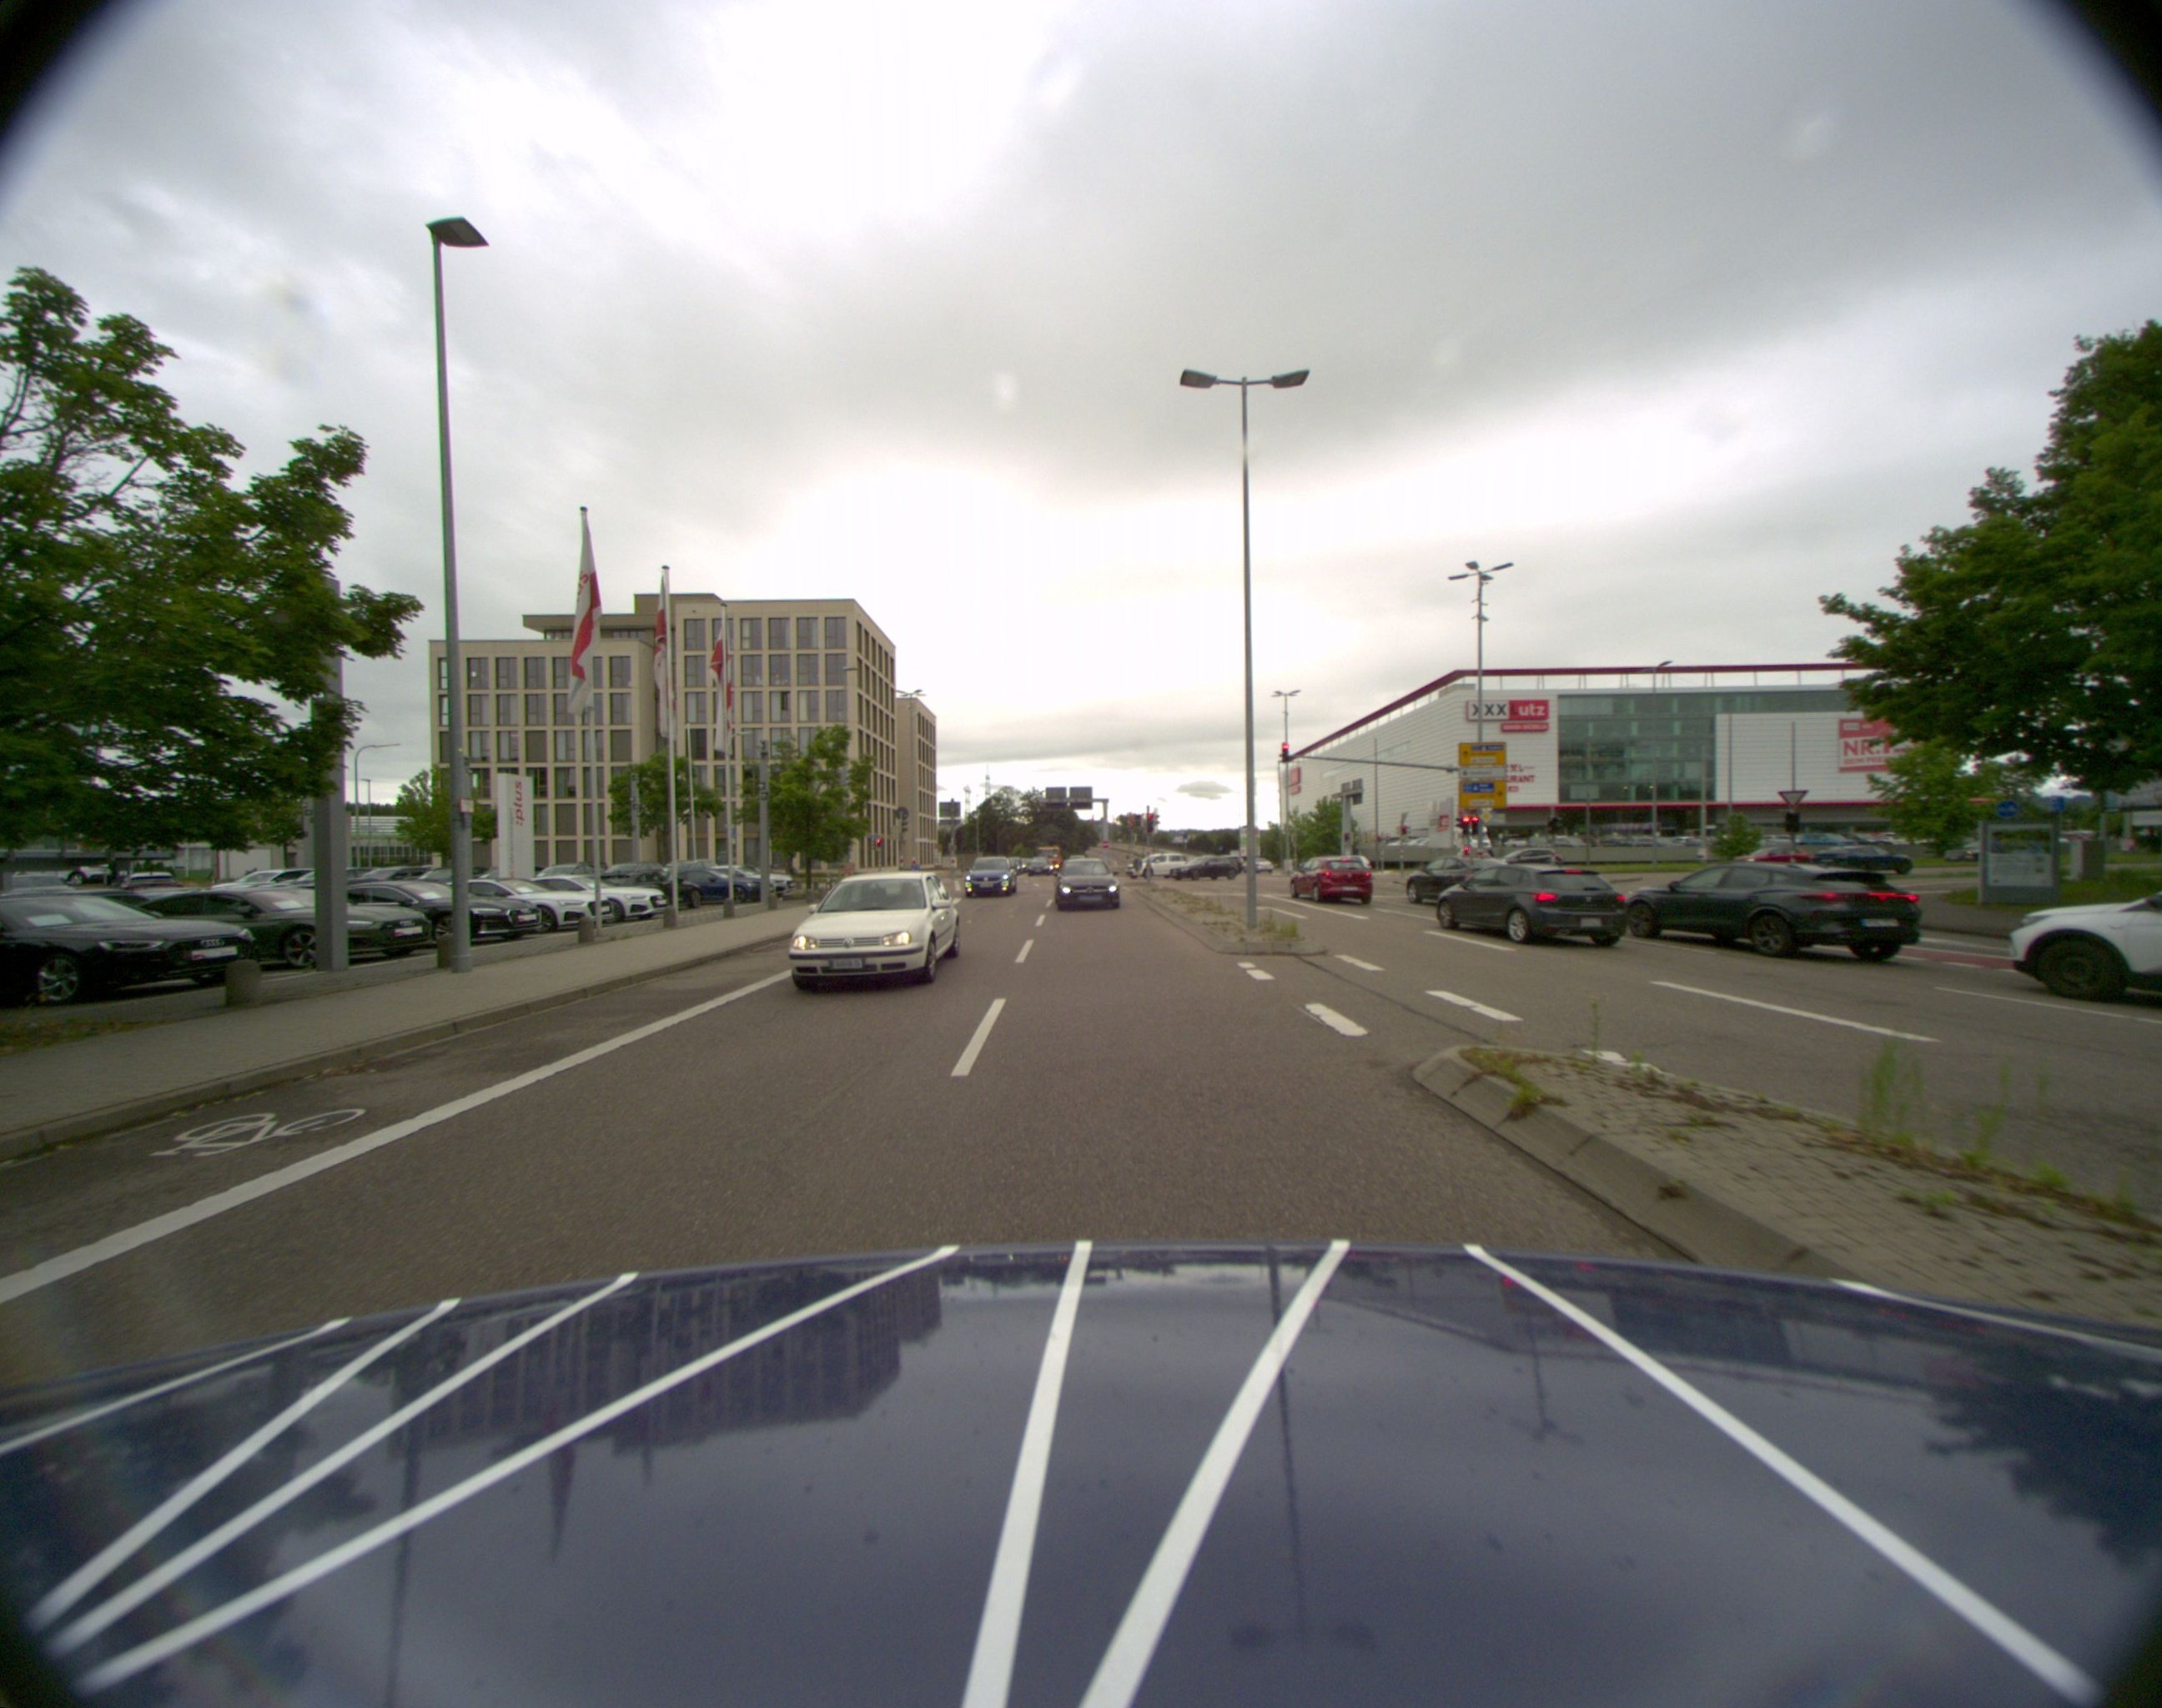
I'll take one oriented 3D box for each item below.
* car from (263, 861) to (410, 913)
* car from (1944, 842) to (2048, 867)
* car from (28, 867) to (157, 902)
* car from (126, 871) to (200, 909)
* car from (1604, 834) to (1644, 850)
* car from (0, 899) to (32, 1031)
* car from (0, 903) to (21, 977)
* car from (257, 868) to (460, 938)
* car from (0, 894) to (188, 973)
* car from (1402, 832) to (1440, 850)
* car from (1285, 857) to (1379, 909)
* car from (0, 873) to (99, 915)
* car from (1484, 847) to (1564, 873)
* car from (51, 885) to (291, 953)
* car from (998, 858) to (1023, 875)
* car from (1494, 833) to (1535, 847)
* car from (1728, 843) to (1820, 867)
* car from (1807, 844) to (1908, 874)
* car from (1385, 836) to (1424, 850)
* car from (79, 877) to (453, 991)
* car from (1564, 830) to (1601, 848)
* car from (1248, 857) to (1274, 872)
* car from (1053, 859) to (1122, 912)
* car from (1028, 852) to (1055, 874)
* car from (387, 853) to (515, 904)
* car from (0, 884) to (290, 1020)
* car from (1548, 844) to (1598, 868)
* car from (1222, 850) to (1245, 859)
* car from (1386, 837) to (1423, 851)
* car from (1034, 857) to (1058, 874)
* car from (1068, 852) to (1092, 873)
[{"bbox_3d":[-34.624,1.452,35.584,1.999,2.002,4.906,-2,2,-1],"label":"car"},{"bbox_3d":[58.237,0.055,48.419,4.215,1.407,1.803,-2,-1,3],"label":"car"},{"bbox_3d":[-50.511,1.546,38.885,3.997,1.608,2.000,-2,-1,0],"label":"car"},{"bbox_3d":[-44.513,1.699,36.931,4.434,1.649,1.926,-2,1,43],"label":"car"},{"bbox_3d":[67.379,-1.454,94.370,1.998,1.728,4.001,-2,-1,0],"label":"car"},{"bbox_3d":[-13.585,1.322,7.333,4.165,1.382,1.902,-4,0,0],"label":"car"},{"bbox_3d":[-24.676,1.861,15.373,3.997,1.533,1.728,-2,-1,0],"label":"car"},{"bbox_3d":[-23.578,1.513,25.129,1.998,1.928,4.817,-1,0,1],"label":"car"},{"bbox_3d":[-24.619,1.886,18.184,4.315,1.685,1.811,-2,-1,0],"label":"car"},{"bbox_3d":[43.480,-1.652,97.245,3.995,2.001,2.001,-2,-1,4],"label":"car"},{"bbox_3d":[8.320,0.913,25.556,1.739,1.479,4.077,0,1,-1],"label":"car"},{"bbox_3d":[-45.540,1.754,33.521,4.435,1.649,1.926,-2,1,28],"label":"car"},{"bbox_3d":[29.529,0.433,50.730,4.215,1.564,1.803,-2,-1,3],"label":"car"},{"bbox_3d":[-24.955,1.756,20.963,4.260,1.477,1.929,-4,-1,0],"label":"car"},{"bbox_3d":[-6.510,1.145,70.271,1.871,1.481,4.151,-2,-2,0],"label":"car"},{"bbox_3d":[56.863,-1.853,99.695,4.255,1.665,1.778,-2,-1,3],"label":"car"},{"bbox_3d":[45.343,0.058,49.774,4.215,1.407,1.803,-2,-1,3],"label":"car"},{"bbox_3d":[39.245,0.231,38.423,4.120,1.479,1.700,0,1,-14],"label":"car"},{"bbox_3d":[42.590,-1.470,100.053,4.255,1.665,1.778,-2,-1,3],"label":"car"},{"bbox_3d":[-13.648,1.288,12.954,4.188,1.477,1.908,-4,0,-1],"label":"car"},{"bbox_3d":[62.562,-1.820,94.824,1.998,2.001,4.001,-2,-1,1],"label":"car"},{"bbox_3d":[17.532,1.049,73.992,1.693,1.363,3.928,-2,-2,2],"label":"car"},{"bbox_3d":[0.111,0.916,22.837,1.859,1.426,4.196,-1,-1,-2],"label":"car"},{"bbox_3d":[-3.359,0.818,65.053,1.999,1.758,4.423,-2,-2,0],"label":"car"},{"bbox_3d":[-29.103,1.070,35.351,1.999,2.002,4.786,-2,2,-3],"label":"car"},{"bbox_3d":[-13.678,1.302,10.026,4.376,1.462,1.894,-4,0,-1],"label":"car"},{"bbox_3d":[45.079,0.218,69.722,1.998,2.001,4.002,-2,-1,2],"label":"car"},{"bbox_3d":[29.681,0.174,148.024,4.192,1.600,1.724,-2,-2,7],"label":"car"},{"bbox_3d":[43.809,-1.358,102.949,4.255,1.665,1.778,-2,-1,3],"label":"car"},{"bbox_3d":[-3.278,1.115,72.066,1.998,1.591,4.001,-2,-2,0],"label":"car"},{"bbox_3d":[-0.096,0.752,65.642,1.904,1.633,4.069,-2,-2,-2],"label":"car"}]
